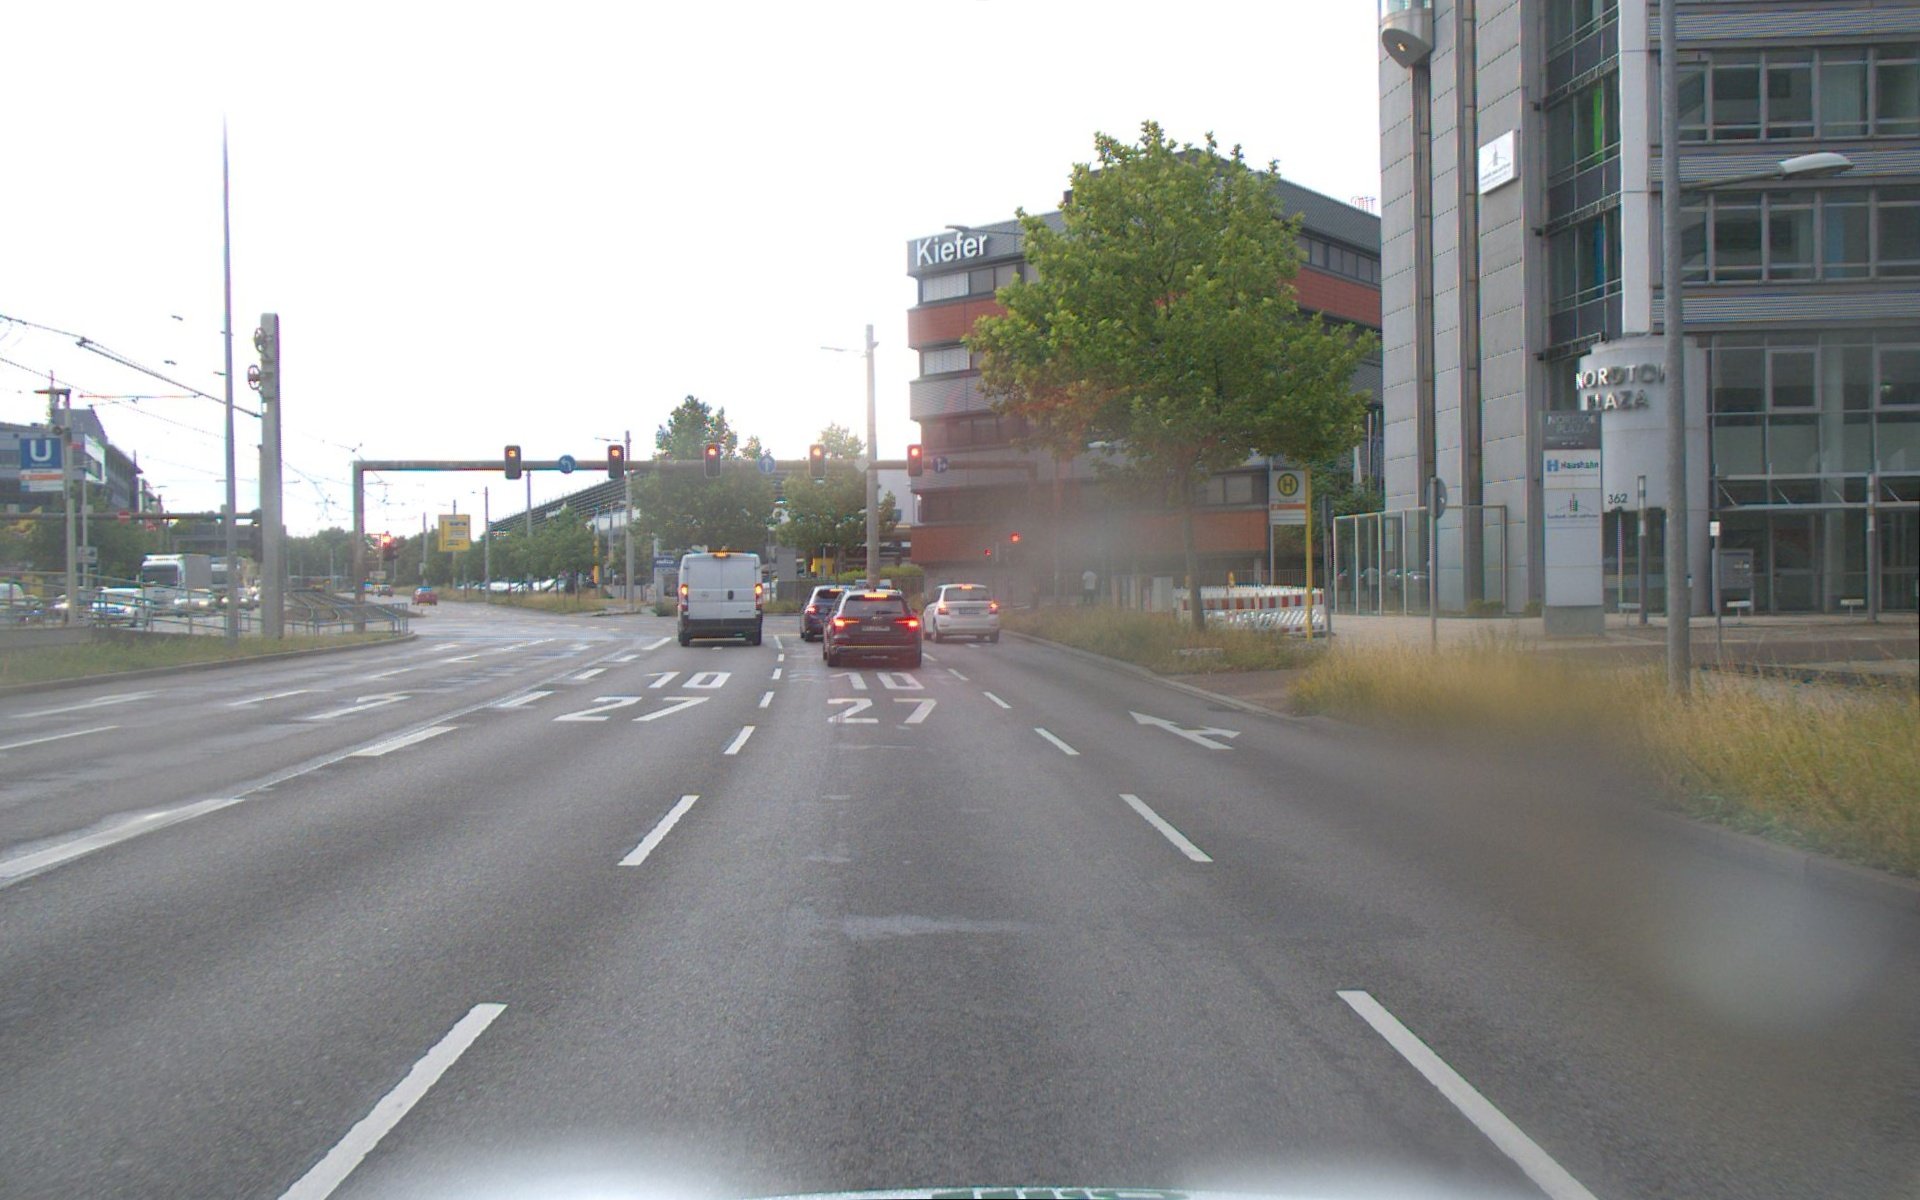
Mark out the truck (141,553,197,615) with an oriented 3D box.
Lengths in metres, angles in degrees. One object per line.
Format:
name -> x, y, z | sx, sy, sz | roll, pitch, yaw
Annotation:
truck -> -53.379, -1.074, 111.690 | 2.791, 4.065, 5.950 | -1, 1, -21

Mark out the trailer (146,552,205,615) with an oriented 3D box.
trailer -> -55.230, -1.148, 116.647 | 2.755, 4.179, 11.371 | -1, 1, -21

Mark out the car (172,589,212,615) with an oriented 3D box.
car -> -47.232, 0.129, 101.784 | 1.712, 1.488, 4.130 | 1, -1, -19

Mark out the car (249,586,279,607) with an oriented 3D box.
car -> -58.250, -0.316, 138.513 | 1.857, 1.681, 4.076 | 1, -1, -17

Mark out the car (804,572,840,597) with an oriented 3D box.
car -> -11.923, -1.350, 142.597 | 1.847, 2.049, 3.742 | 2, -1, -26

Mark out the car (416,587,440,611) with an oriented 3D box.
car -> -46.953, -0.054, 145.885 | 1.747, 2.049, 4.321 | 2, -1, -20

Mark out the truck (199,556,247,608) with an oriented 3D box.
truck -> -61.188, -1.446, 137.425 | 2.623, 4.202, 6.159 | -1, 0, -16

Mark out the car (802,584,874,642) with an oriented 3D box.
car -> -3.322, 0.357, 44.990 | 1.856, 1.491, 3.906 | -1, 0, -4

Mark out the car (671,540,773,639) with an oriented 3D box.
car -> -6.144, -0.219, 42.423 | 2.400, 2.334, 4.893 | 1, -1, -9

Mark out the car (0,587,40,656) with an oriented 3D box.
car -> -32.253, 0.690, 54.016 | 1.955, 2.253, 5.136 | 1, -1, -7

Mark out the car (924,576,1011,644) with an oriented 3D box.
car -> 0.144, 0.256, 42.993 | 1.794, 1.685, 3.994 | 0, -1, -7

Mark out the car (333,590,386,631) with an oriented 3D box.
car -> -31.308, 0.514, 86.350 | 1.740, 2.049, 4.339 | 1, 0, -9

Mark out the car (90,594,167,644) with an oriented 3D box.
car -> -35.656, 0.806, 71.058 | 1.741, 2.049, 4.336 | 1, -1, -10

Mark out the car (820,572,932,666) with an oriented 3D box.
car -> -1.680, 0.358, 31.840 | 1.955, 1.666, 3.995 | -1, -1, -6

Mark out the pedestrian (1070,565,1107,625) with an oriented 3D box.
pedestrian -> 4.808, -0.188, 61.798 | 1.121, 2.162, 1.221 | -2, 2, -6

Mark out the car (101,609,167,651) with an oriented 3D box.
car -> -35.303, 1.264, 70.759 | 1.501, 1.696, 4.255 | 1, -1, -13

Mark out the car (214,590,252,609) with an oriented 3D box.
car -> -52.773, -0.011, 120.190 | 1.877, 1.286, 4.395 | 1, -1, -16

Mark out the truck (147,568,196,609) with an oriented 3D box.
truck -> -78.721, -1.153, 165.046 | 2.734, 3.871, 5.323 | -2, 0, -44
